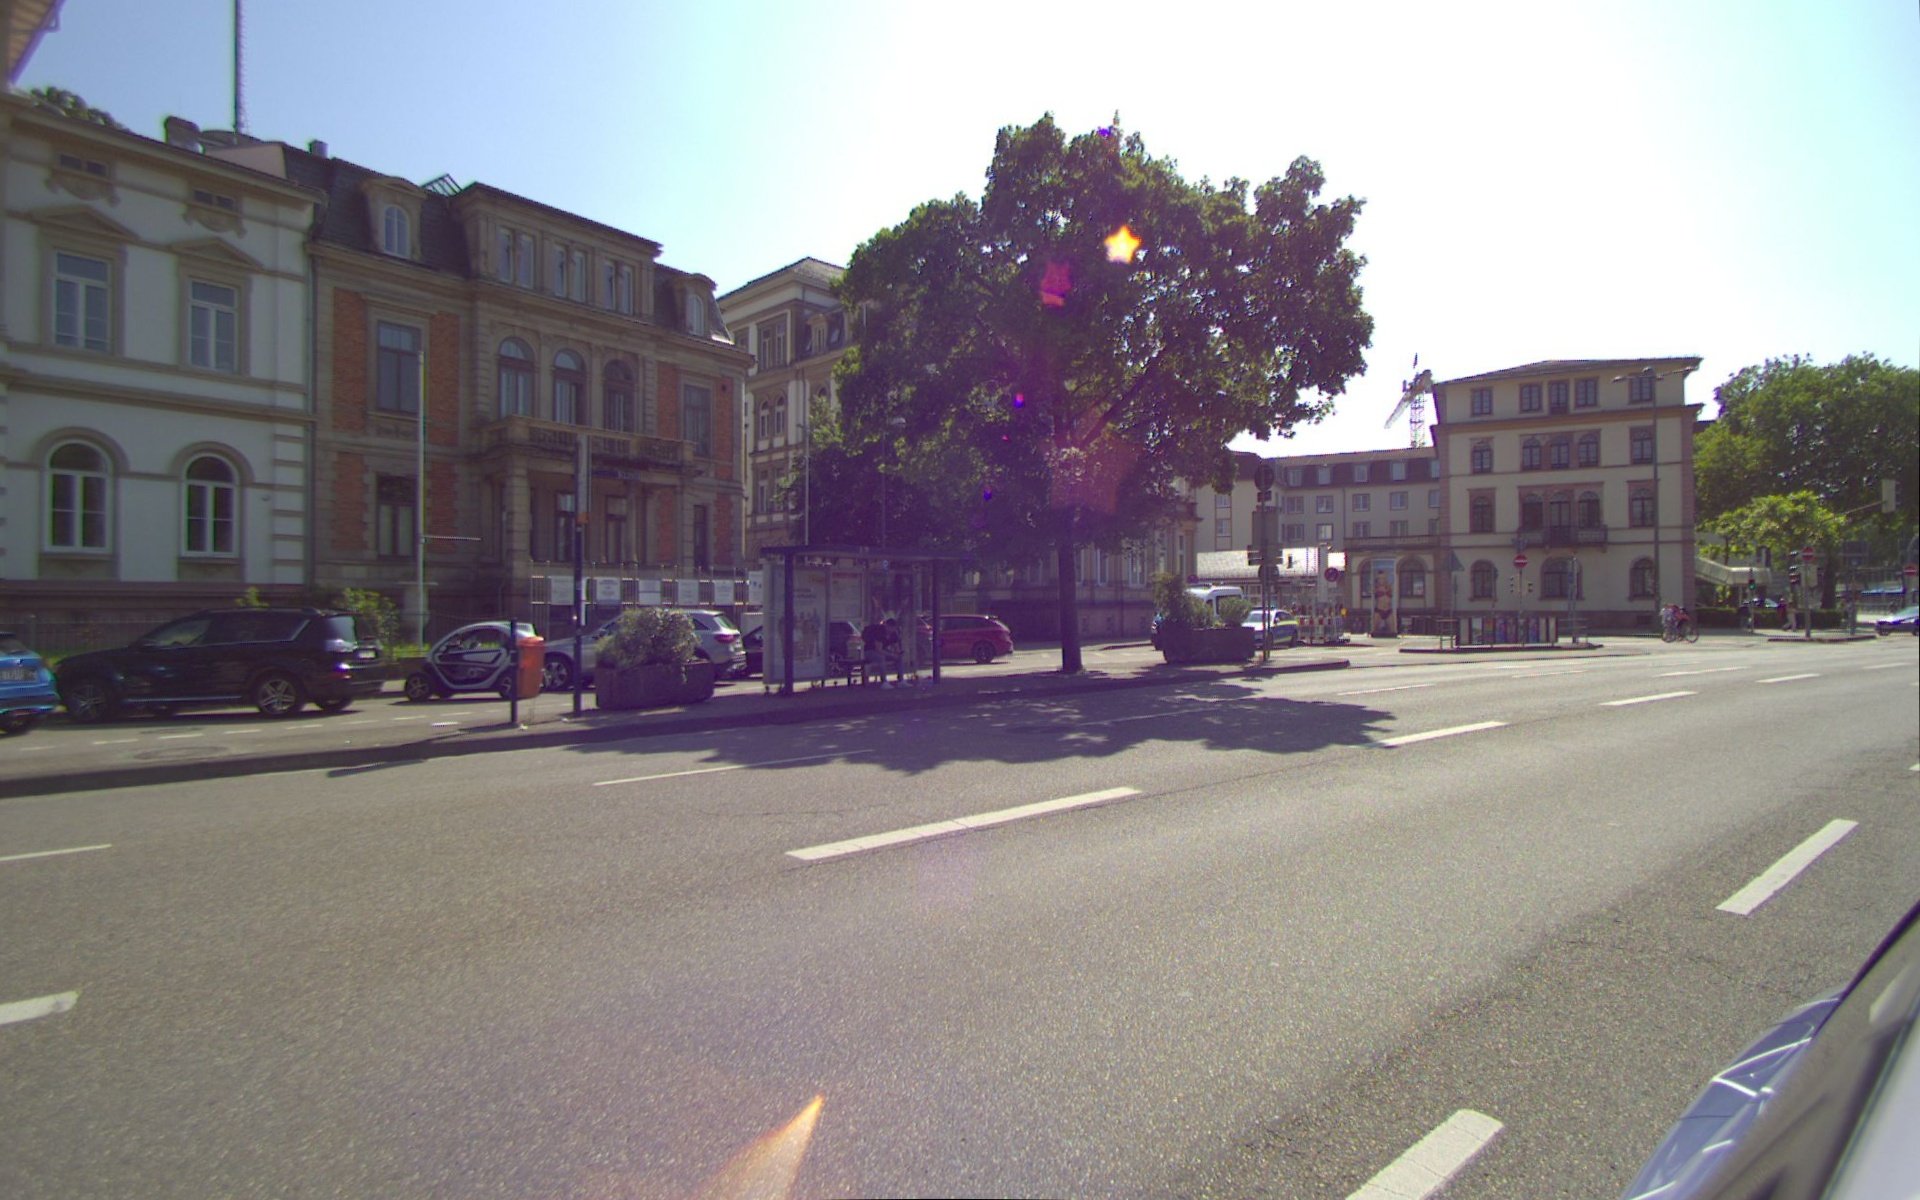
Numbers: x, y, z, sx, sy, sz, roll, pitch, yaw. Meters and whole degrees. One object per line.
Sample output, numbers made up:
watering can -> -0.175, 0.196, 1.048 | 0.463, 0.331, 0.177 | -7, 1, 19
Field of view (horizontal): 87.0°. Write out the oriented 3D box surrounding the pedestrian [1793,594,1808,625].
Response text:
pedestrian -> 45.747, 0.524, 55.096 | 0.531, 1.670, 0.573 | -1, -1, 31

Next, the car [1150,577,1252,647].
car -> 9.760, 0.463, 40.723 | 1.989, 2.637, 5.245 | -1, -1, 38

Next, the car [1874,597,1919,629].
car -> 45.900, 0.611, 47.899 | 3.893, 1.470, 1.795 | 0, 1, -6

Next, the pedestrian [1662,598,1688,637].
pedestrian -> 31.326, 0.750, 44.334 | 0.815, 1.681, 0.752 | 0, -1, -43

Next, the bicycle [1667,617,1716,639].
bicycle -> 30.446, 1.154, 42.116 | 1.708, 0.865, 0.594 | 0, -1, -10

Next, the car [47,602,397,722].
car -> -11.455, 0.921, 15.961 | 4.188, 1.718, 1.715 | -1, -1, -5

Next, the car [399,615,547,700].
car -> -9.038, 1.042, 18.885 | 2.241, 1.501, 1.203 | -1, -1, -9

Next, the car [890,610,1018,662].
car -> -0.167, 1.037, 29.789 | 3.631, 1.436, 1.748 | -1, -1, 1

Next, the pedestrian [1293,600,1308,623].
pedestrian -> 24.100, 0.843, 71.697 | 0.706, 1.624, 0.723 | 0, -1, -41

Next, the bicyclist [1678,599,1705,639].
bicyclist -> 30.440, 0.784, 42.114 | 0.670, 1.627, 0.594 | 0, -1, -10

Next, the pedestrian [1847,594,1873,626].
pedestrian -> 48.332, 0.526, 54.348 | 0.835, 1.717, 0.738 | -1, -1, 26

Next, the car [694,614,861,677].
car -> -4.362, 1.084, 24.543 | 3.749, 1.435, 1.605 | -1, -1, 1

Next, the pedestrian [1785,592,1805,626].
pedestrian -> 46.123, 0.487, 55.907 | 0.721, 1.828, 0.644 | -1, -1, 34

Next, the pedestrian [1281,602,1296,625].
pedestrian -> 23.108, 0.928, 71.152 | 0.707, 1.624, 0.722 | 1, -1, -43

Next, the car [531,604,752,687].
car -> -6.726, 0.943, 21.675 | 4.231, 1.650, 1.714 | -1, -1, -3

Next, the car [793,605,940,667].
car -> -2.492, 0.967, 27.543 | 3.805, 1.595, 1.749 | -1, -1, 1

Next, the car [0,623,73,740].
car -> -14.042, 1.061, 12.969 | 3.735, 1.460, 1.715 | -1, -1, -5

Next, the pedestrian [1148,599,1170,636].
pedestrian -> 9.728, 0.860, 49.406 | 0.816, 1.762, 0.741 | -1, -1, 36

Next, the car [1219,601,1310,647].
car -> 11.736, 0.870, 38.830 | 1.811, 1.647, 4.815 | -1, -1, 37

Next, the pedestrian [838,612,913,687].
pedestrian -> -1.422, 0.810, 17.031 | 1.011, 1.213, 0.784 | -1, -1, 27

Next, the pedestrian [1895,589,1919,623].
pedestrian -> 53.298, 0.350, 56.964 | 0.716, 1.869, 0.591 | -1, -1, 5

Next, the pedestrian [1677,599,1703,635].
pedestrian -> 32.410, 0.760, 44.944 | 0.815, 1.592, 0.772 | 0, -1, -42

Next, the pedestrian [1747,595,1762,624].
pedestrian -> 45.143, 0.536, 57.509 | 0.531, 1.670, 0.667 | -1, -1, 31
